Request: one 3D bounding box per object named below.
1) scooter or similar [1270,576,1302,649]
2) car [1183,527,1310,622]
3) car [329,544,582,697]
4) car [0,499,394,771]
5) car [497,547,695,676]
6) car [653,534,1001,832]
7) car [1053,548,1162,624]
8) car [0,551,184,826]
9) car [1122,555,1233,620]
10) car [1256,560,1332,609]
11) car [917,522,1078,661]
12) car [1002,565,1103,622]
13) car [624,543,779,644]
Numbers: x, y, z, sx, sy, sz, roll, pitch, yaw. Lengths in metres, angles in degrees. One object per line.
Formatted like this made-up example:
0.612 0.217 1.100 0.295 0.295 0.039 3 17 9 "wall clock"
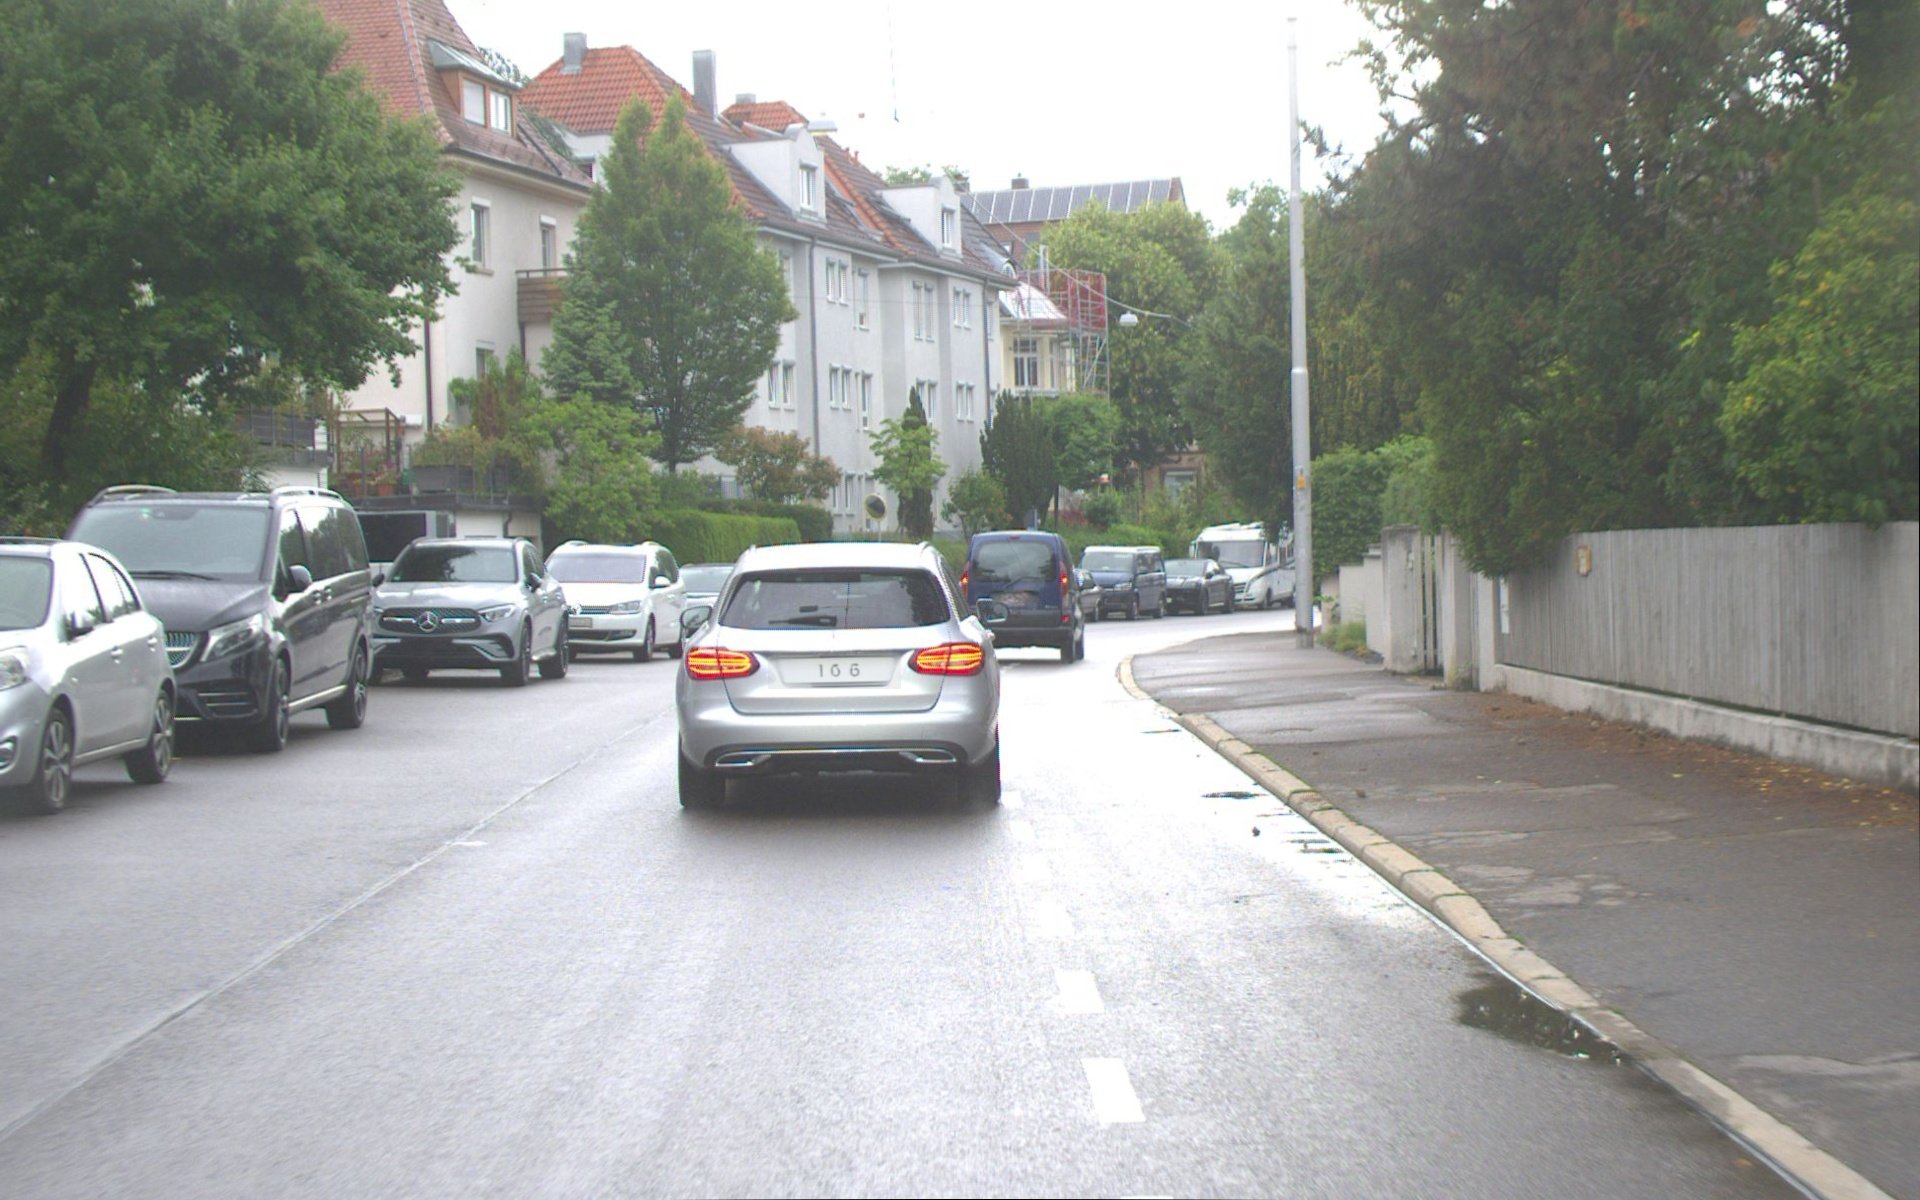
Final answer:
6.011 0.228 63.371 0.450 1.303 1.481 -2 0 9 "scooter or similar"
9.094 -0.838 108.539 2.393 2.762 6.526 0 2 20 "car"
-5.644 0.177 39.037 1.993 1.575 4.761 2 1 2 "car"
-5.790 0.188 26.330 1.993 1.872 5.356 0 1 0 "car"
-5.140 0.116 49.131 1.994 1.696 4.738 2 1 4 "car"
-0.702 0.396 19.974 1.816 1.551 4.000 0 1 0 "car"
4.122 -0.393 95.279 1.831 2.049 5.006 0 0 17 "car"
-5.790 0.450 19.965 1.694 1.442 3.814 -1 1 0 "car"
6.438 -0.386 101.251 1.995 1.682 4.672 0 3 20 "car"
11.053 -0.525 113.661 1.714 1.442 3.252 0 3 20 "car"
0.485 -0.128 49.166 1.842 1.897 4.001 0 0 -6 "car"
2.423 -0.183 88.660 1.644 1.412 4.610 0 1 14 "car"
-4.283 -0.135 57.495 1.792 1.575 4.137 2 1 7 "car"
